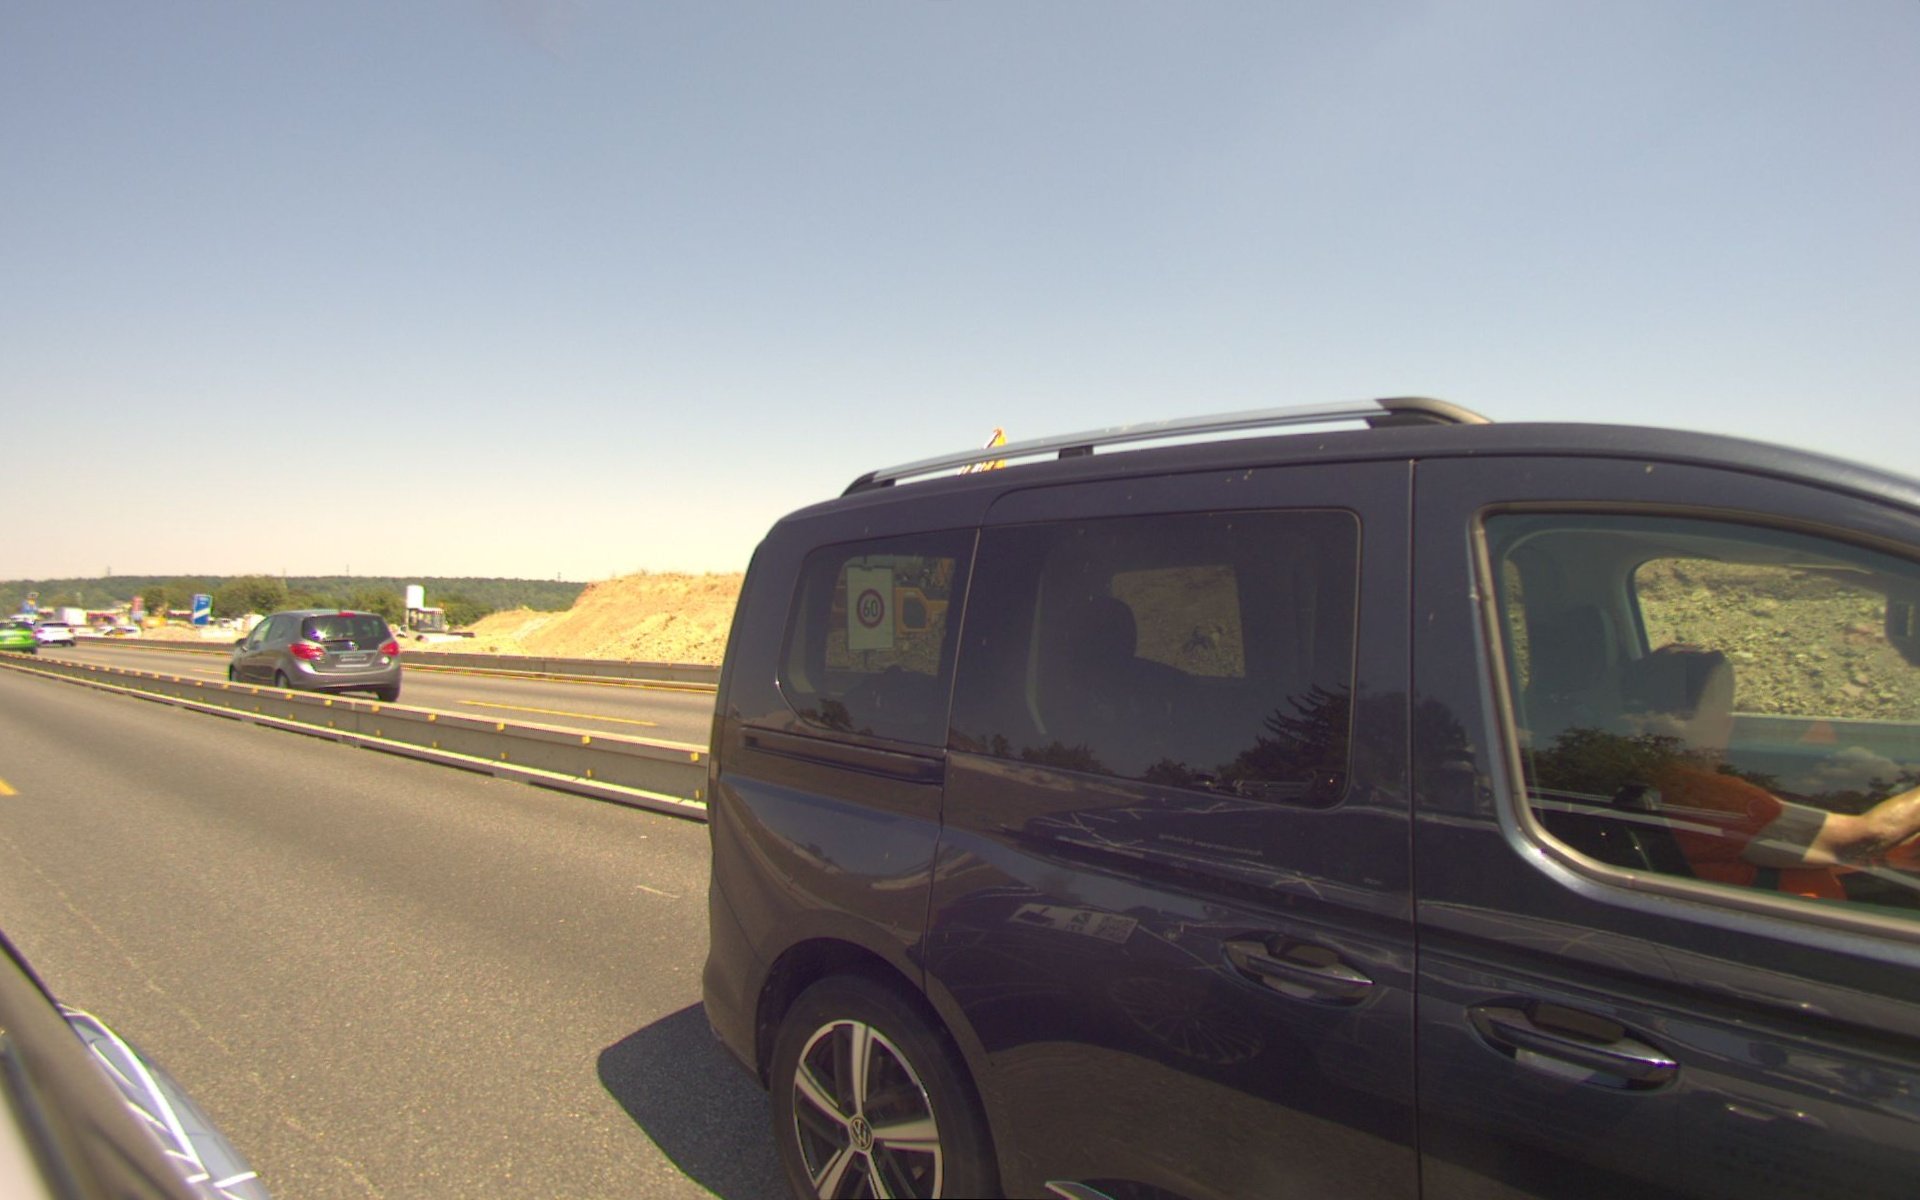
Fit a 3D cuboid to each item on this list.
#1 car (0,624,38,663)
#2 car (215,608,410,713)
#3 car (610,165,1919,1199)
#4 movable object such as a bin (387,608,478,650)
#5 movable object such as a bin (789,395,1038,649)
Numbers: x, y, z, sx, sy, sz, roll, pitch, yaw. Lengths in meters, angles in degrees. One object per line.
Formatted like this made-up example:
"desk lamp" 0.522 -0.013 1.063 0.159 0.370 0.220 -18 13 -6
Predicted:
"car" -40.026 1.823 42.434 3.404 1.537 1.675 -2 -1 41
"car" -11.322 0.990 17.590 4.223 1.577 1.748 -2 -1 41
"car" 1.451 0.477 1.746 4.780 1.838 1.733 -2 -1 41
"movable object such as a bin" -28.803 1.535 55.156 6.141 2.150 2.291 -1 0 41
"movable object such as a bin" -1.335 -2.217 32.629 4.079 7.167 7.284 -1 0 41
